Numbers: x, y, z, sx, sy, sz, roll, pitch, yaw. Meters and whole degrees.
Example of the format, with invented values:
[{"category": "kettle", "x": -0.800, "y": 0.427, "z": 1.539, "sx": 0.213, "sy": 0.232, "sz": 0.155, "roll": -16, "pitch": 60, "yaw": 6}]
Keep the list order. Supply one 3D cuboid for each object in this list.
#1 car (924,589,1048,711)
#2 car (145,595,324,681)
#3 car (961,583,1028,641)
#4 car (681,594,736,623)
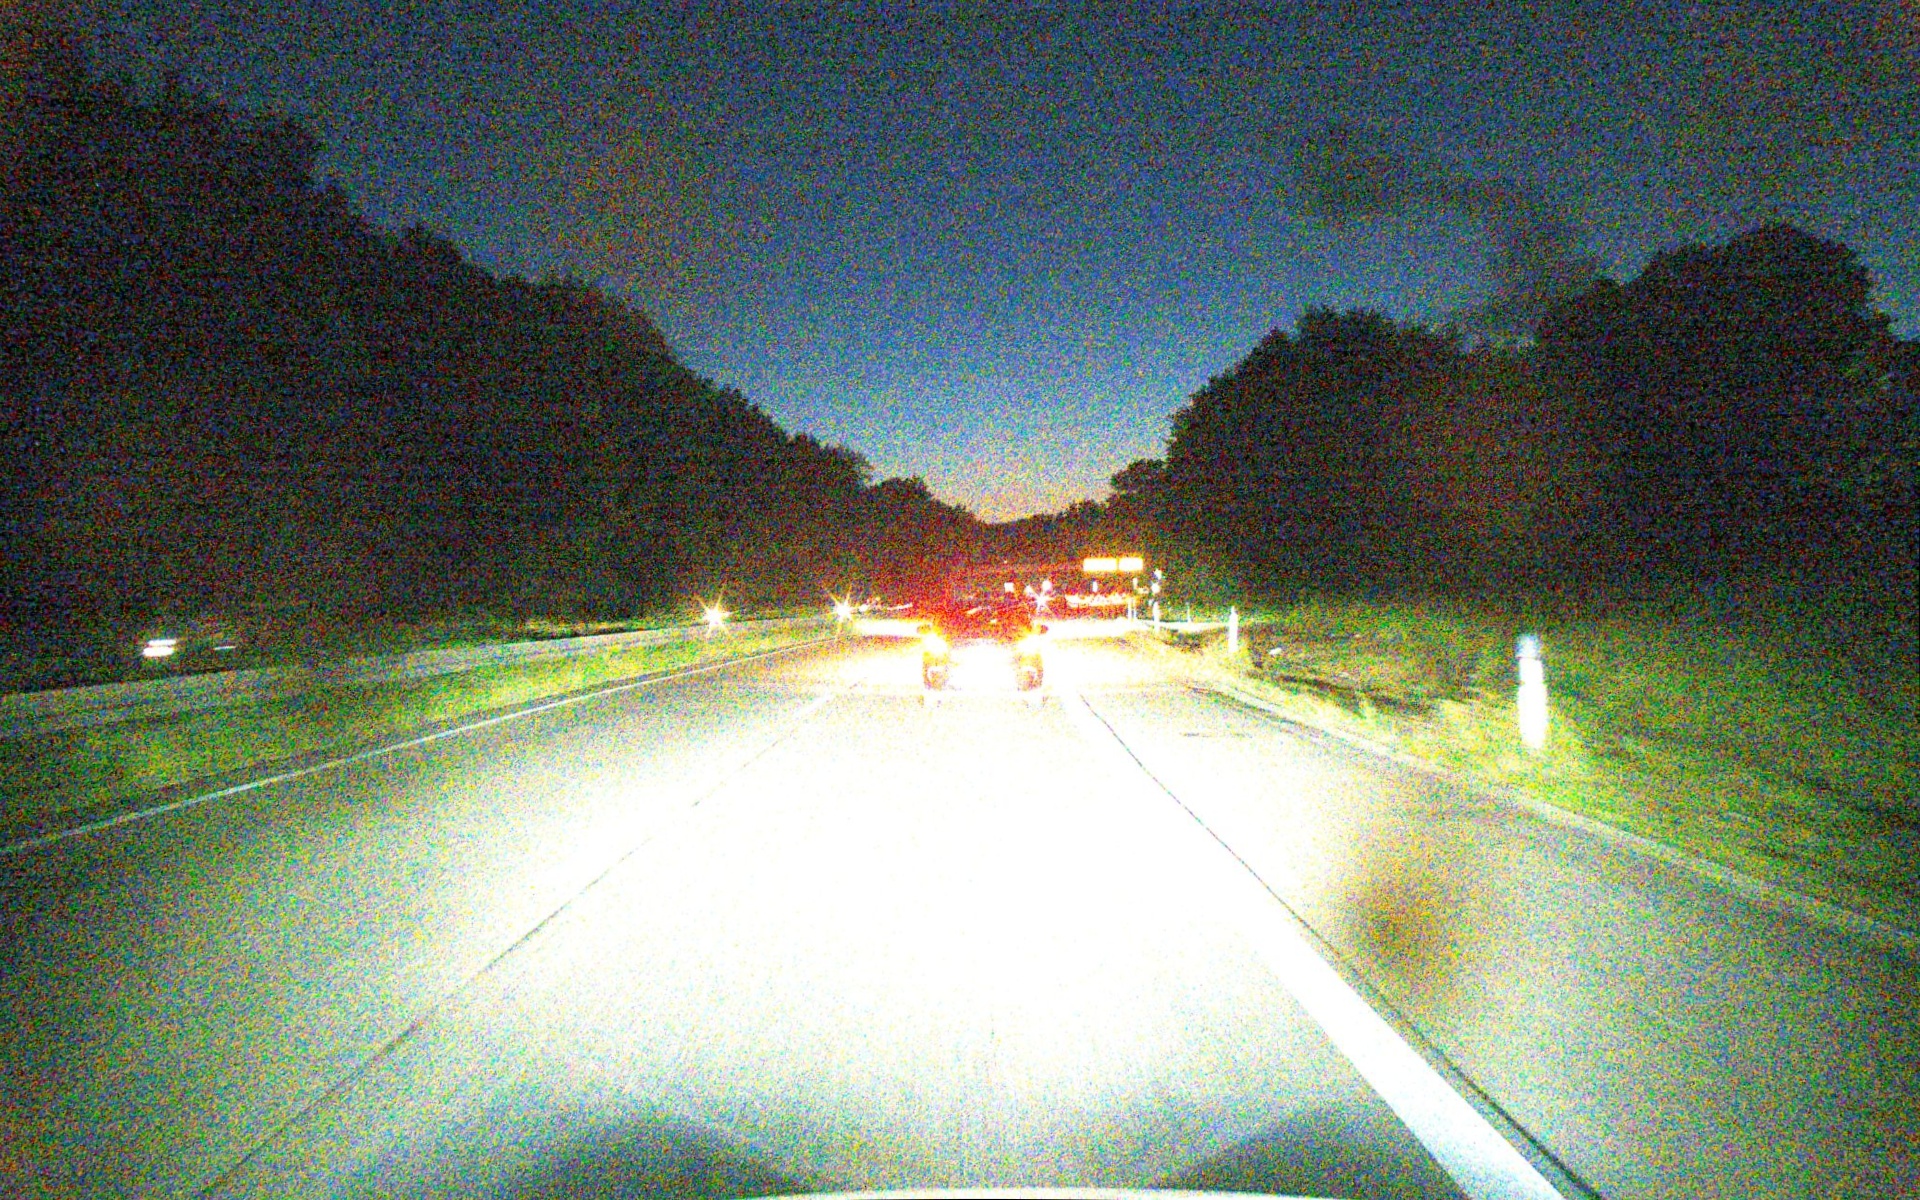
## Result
[{"category": "car", "x": 0.326, "y": 0.627, "z": 23.051, "sx": 1.556, "sy": 1.534, "sz": 4.000, "roll": 1, "pitch": 0, "yaw": 0}, {"category": "car", "x": -15.394, "y": 0.763, "z": 35.376, "sx": 1.953, "sy": 1.686, "sz": 4.532, "roll": -1, "pitch": 0, "yaw": -2}, {"category": "car", "x": 1.139, "y": 0.347, "z": 52.628, "sx": 1.866, "sy": 1.728, "sz": 4.003, "roll": -1, "pitch": 1, "yaw": 5}, {"category": "car", "x": -14.084, "y": 0.446, "z": 92.772, "sx": 1.782, "sy": 1.467, "sz": 4.479, "roll": -3, "pitch": 0, "yaw": 8}]
